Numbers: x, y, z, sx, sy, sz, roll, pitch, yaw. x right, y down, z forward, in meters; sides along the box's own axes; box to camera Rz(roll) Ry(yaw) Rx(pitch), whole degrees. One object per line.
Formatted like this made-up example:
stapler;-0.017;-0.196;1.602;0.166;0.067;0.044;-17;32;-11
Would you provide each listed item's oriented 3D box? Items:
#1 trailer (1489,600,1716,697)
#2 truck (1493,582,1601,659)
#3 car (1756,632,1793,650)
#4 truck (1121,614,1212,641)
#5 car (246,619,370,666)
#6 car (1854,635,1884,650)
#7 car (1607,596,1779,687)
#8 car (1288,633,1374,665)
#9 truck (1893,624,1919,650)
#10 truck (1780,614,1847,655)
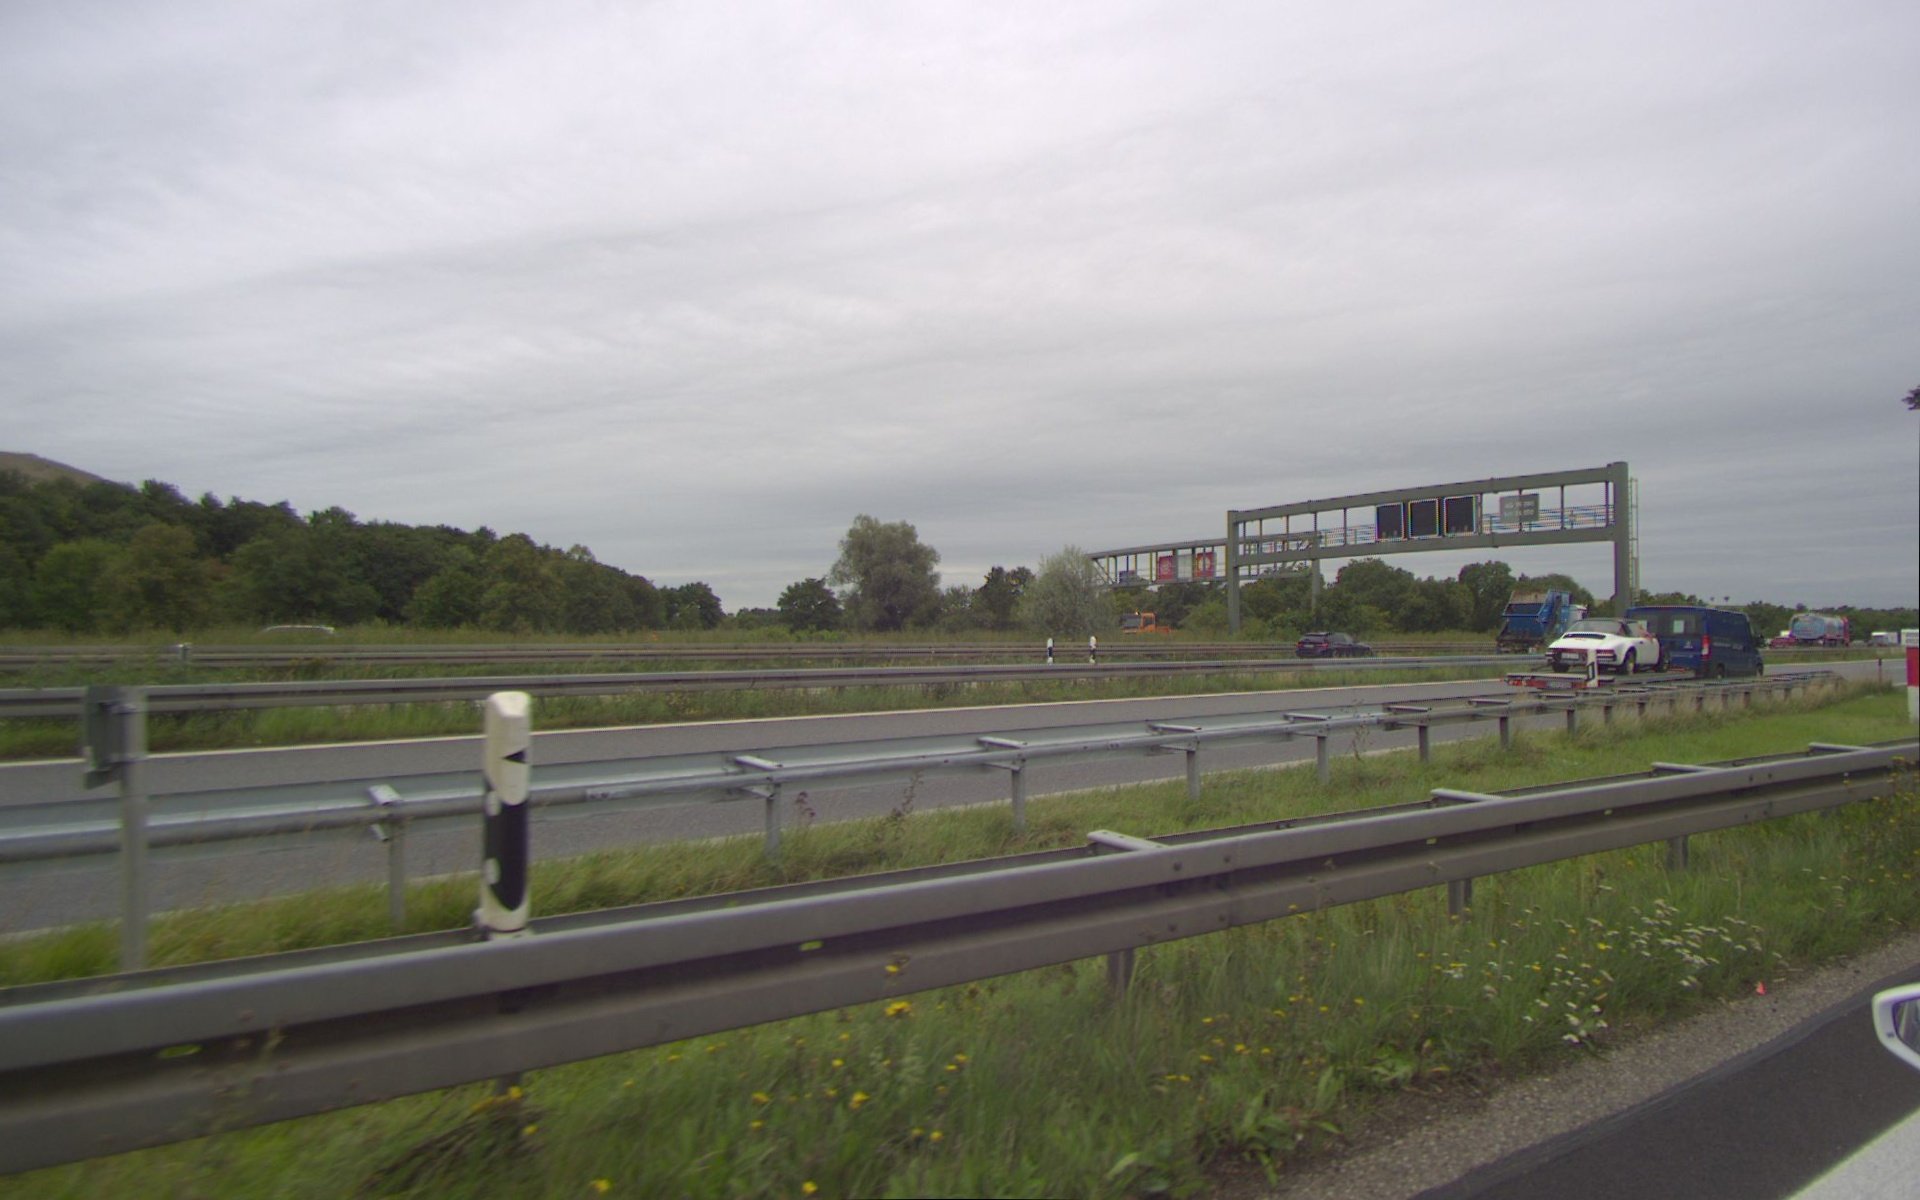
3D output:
trailer;15.537;1.092;24.073;7.001;2.021;2.465;2;-1;-38
truck;31.534;1.170;53.811;7.282;3.863;2.617;2;-1;-39
car;75.870;3.844;93.548;3.964;1.595;1.796;2;-1;-38
truck;16.952;2.251;82.093;8.730;2.040;1.980;2;-1;-36
car;-25.518;1.656;39.350;3.961;1.751;1.839;2;-1;-36
car;103.561;4.857;114.466;3.964;1.595;1.871;2;-1;-38
car;20.669;1.119;28.200;6.202;2.296;2.354;2;-1;-38
car;18.115;2.389;48.994;4.735;1.410;1.789;2;-1;-39
truck;104.808;4.069;110.616;5.232;2.740;2.226;2;-1;-38
truck;73.975;2.958;87.009;8.554;3.409;2.835;2;-1;-38
